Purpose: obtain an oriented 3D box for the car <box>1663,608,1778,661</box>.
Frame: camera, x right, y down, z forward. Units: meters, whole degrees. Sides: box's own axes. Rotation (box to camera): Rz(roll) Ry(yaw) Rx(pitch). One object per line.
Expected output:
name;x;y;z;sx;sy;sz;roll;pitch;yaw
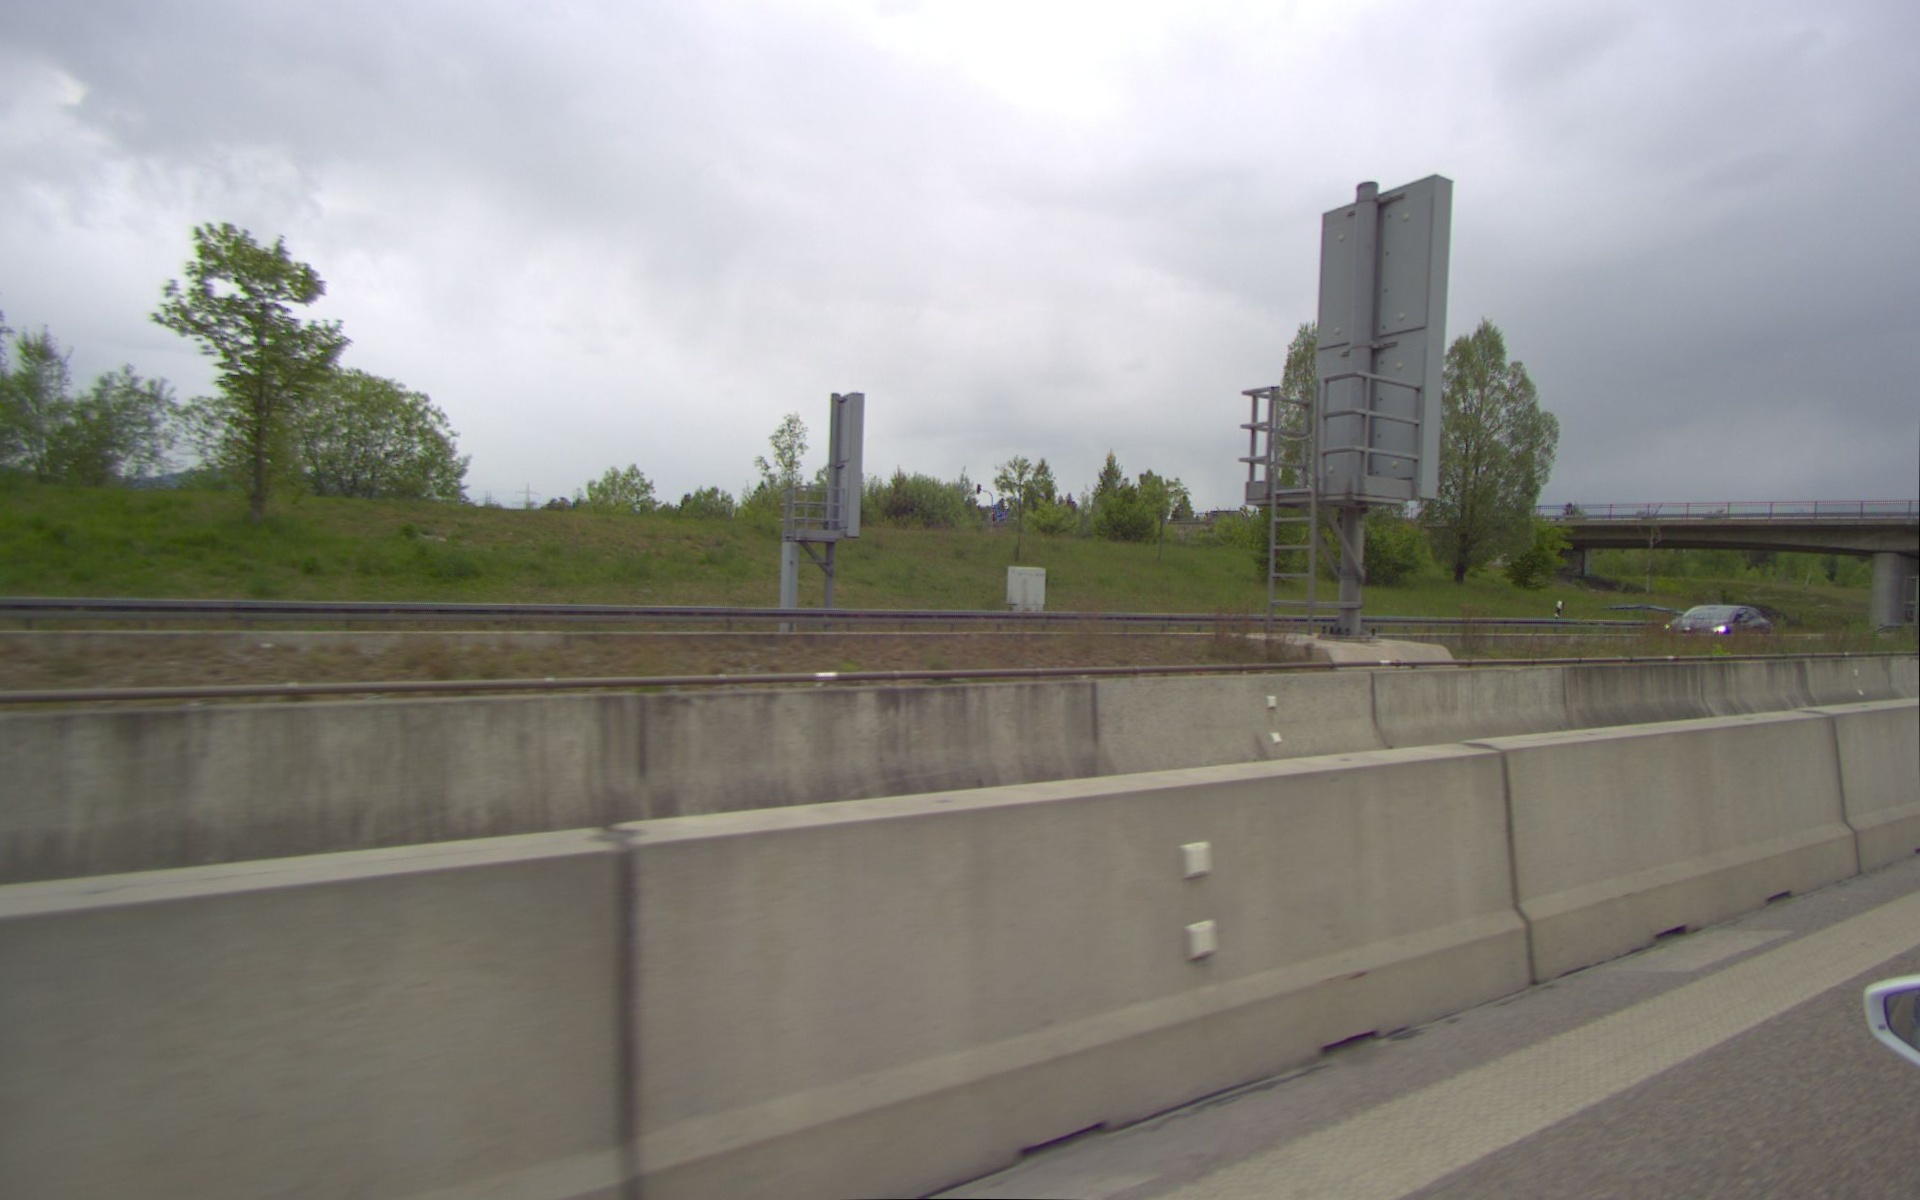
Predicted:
car;23.757;1.062;31.367;3.796;1.521;1.598;1;1;-32
